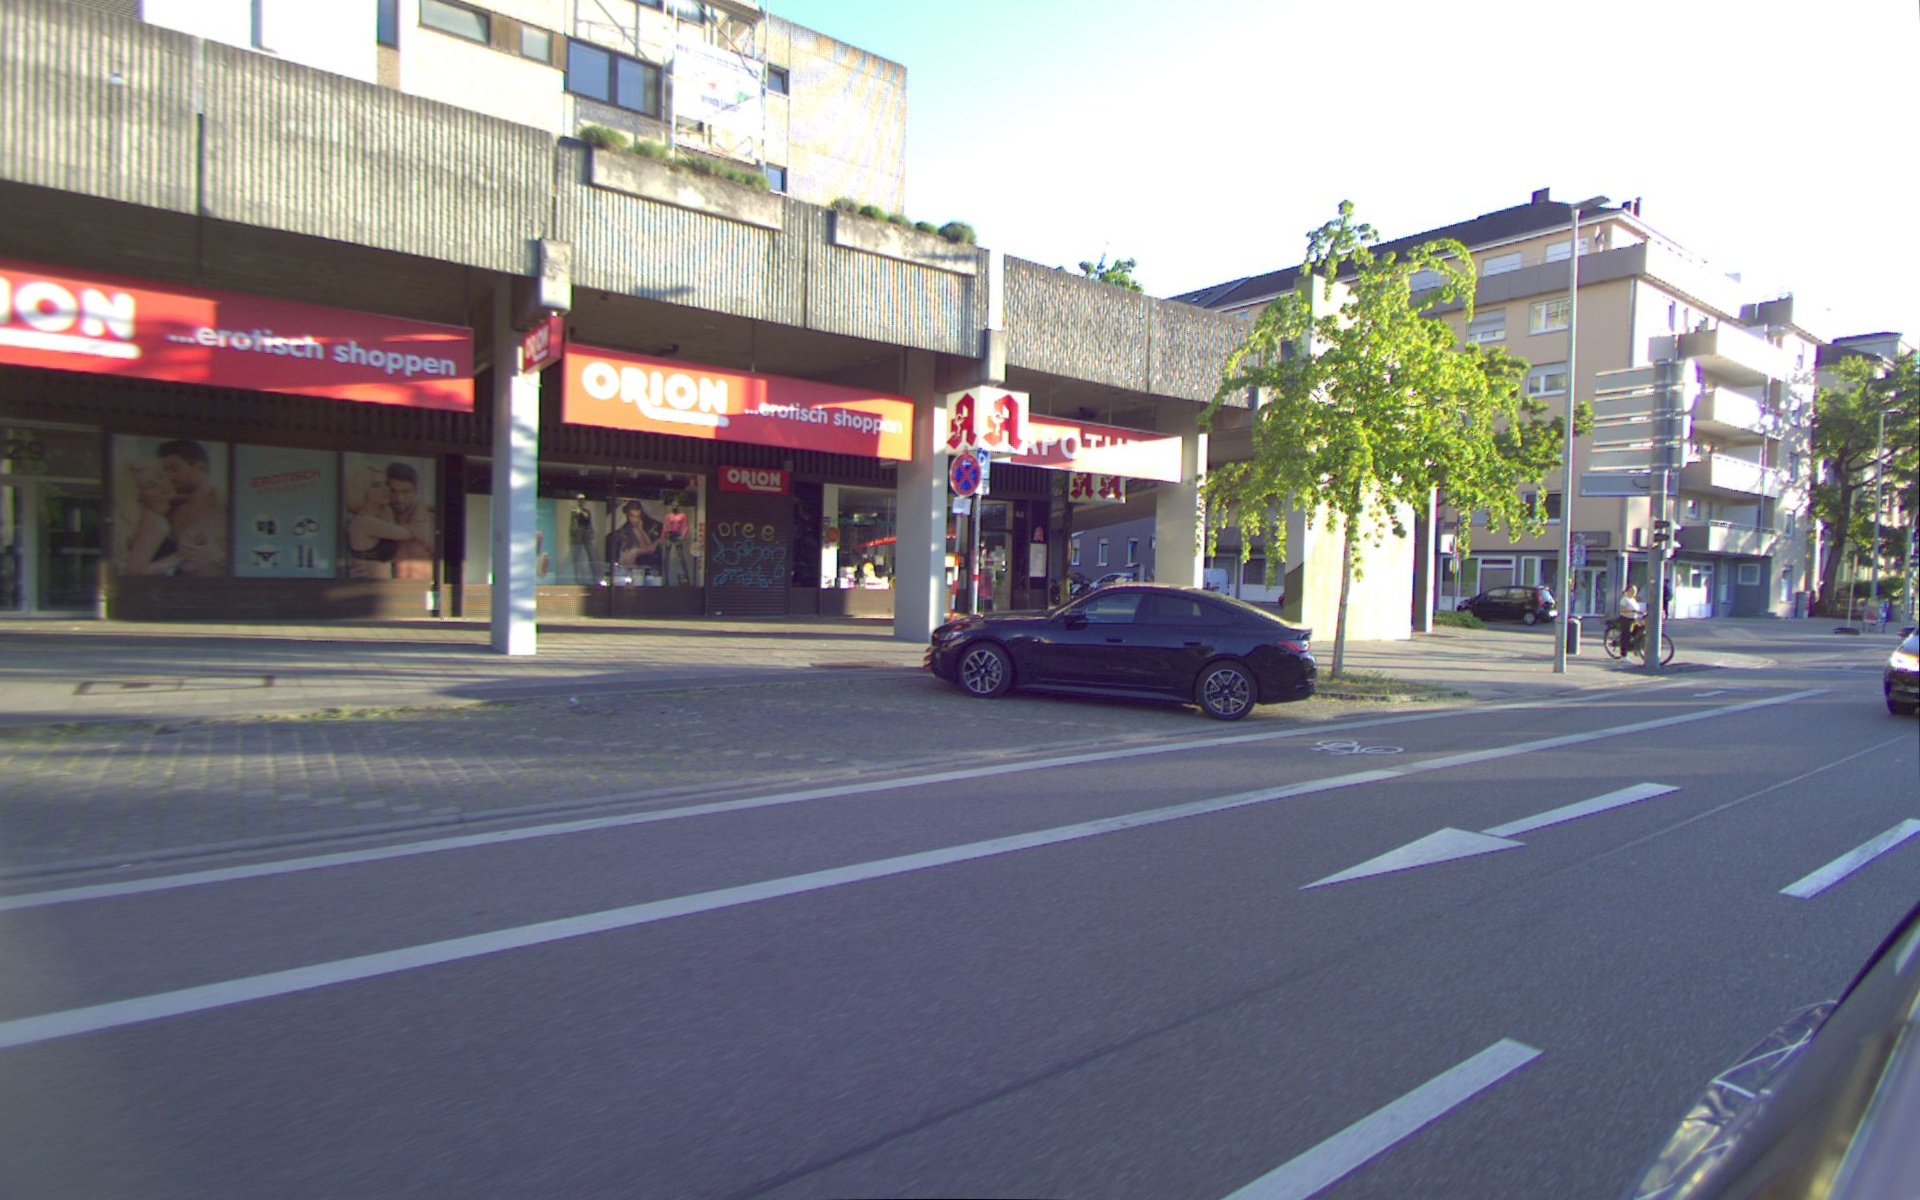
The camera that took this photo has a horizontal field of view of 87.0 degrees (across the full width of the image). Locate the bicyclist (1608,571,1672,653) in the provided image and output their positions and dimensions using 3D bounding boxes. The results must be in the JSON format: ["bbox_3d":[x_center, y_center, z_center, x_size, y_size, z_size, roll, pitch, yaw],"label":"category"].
[{"bbox_3d":[14.862,0.241,22.147,0.809,1.713,0.956,3,2,16],"label":"bicyclist"}]

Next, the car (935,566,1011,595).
[{"bbox_3d":[0.723,-1.054,56.186,4.106,1.479,1.751,0,0,-41],"label":"car"}]

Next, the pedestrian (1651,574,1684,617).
[{"bbox_3d":[27.850,-0.197,39.836,0.752,1.634,0.822,-1,2,-35],"label":"pedestrian"}]

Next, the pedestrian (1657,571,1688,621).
[{"bbox_3d":[27.538,-0.167,39.122,0.534,1.882,0.840,-1,2,-36],"label":"pedestrian"}]

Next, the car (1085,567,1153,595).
[{"bbox_3d":[9.369,-1.166,59.977,1.576,1.504,3.999,-1,3,-37],"label":"car"}]

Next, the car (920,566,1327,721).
[{"bbox_3d":[1.950,0.427,12.452,4.538,1.471,1.807,3,3,13],"label":"car"}]

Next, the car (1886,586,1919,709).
[{"bbox_3d":[14.253,0.602,13.507,4.700,1.538,1.827,0,0,-35],"label":"car"}]

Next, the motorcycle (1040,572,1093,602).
[{"bbox_3d":[4.135,-0.500,39.330,2.116,1.071,0.786,1,2,-41],"label":"motorcycle"}]

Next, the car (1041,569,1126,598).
[{"bbox_3d":[6.997,-0.946,57.463,4.607,1.488,1.778,3,1,43],"label":"car"}]

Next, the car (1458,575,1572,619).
[{"bbox_3d":[22.811,-0.155,41.730,1.586,1.578,3.816,-4,5,-36],"label":"car"}]

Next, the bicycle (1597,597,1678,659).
[{"bbox_3d":[14.895,0.585,22.327,0.808,1.187,2.138,3,3,16],"label":"bicycle"}]

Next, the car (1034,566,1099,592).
[{"bbox_3d":[6.649,-1.318,63.757,1.576,1.504,4.249,-1,3,-37],"label":"car"}]

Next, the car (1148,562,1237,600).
[{"bbox_3d":[12.709,-1.096,55.490,1.964,1.886,4.539,-5,5,-37],"label":"car"}]

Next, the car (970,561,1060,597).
[{"bbox_3d":[2.850,-1.044,52.077,4.538,1.714,1.753,0,0,-36],"label":"car"}]

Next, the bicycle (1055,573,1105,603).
[{"bbox_3d":[4.573,-0.459,38.542,1.889,1.071,0.782,1,2,-41],"label":"bicycle"}]

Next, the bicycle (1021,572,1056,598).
[{"bbox_3d":[3.268,-0.613,42.109,1.540,1.050,0.484,1,2,-41],"label":"bicycle"}]
